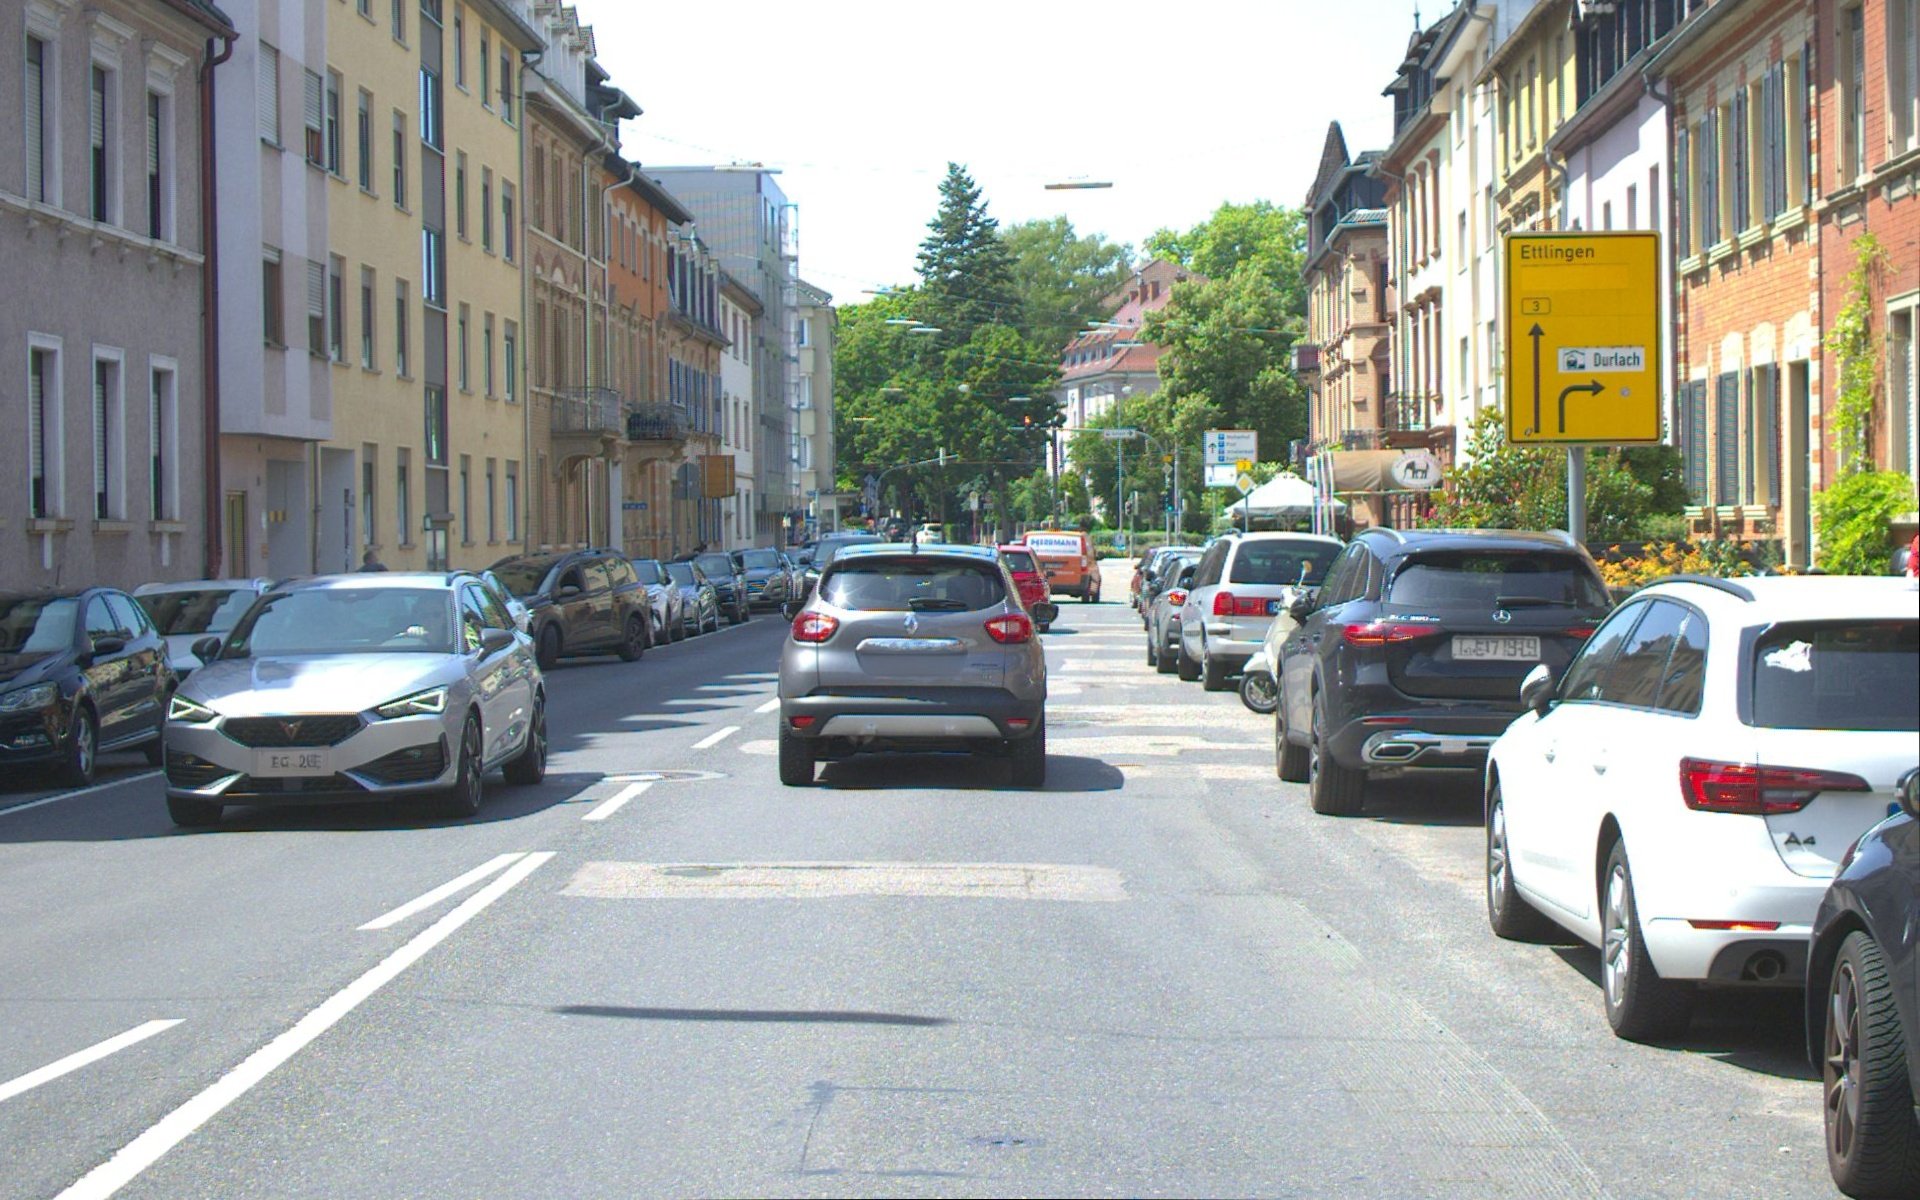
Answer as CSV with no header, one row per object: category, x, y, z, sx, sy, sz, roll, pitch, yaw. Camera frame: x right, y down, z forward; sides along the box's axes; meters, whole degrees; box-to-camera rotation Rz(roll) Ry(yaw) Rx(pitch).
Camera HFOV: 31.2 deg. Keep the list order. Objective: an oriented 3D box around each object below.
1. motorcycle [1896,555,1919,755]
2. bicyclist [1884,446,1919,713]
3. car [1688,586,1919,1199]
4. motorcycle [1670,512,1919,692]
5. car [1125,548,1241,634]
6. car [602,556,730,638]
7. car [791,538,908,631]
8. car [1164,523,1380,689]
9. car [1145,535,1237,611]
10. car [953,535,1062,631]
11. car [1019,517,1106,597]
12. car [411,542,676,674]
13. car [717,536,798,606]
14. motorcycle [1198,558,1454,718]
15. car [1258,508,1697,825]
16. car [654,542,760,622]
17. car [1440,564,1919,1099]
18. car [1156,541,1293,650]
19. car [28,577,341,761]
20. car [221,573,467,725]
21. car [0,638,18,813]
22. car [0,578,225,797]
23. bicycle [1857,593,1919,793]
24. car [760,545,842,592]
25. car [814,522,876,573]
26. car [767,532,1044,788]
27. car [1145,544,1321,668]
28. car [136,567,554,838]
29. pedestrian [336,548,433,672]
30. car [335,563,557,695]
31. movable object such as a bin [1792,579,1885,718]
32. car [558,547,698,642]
motorcycle,6.174,0.346,21.102,0.440,1.233,1.358,-3,1,0
bicyclist,5.515,-0.124,19.092,0.532,1.464,0.791,-2,1,2
car,2.956,0.691,6.930,1.648,1.409,4.502,-1,1,-5
motorcycle,7.289,0.006,29.498,2.129,1.403,0.937,-3,1,1
car,4.001,-0.195,62.272,1.860,1.460,4.618,0,1,1
car,-5.699,-0.081,67.083,1.905,1.396,4.755,-3,1,1
car,-2.256,-0.356,71.656,1.994,1.786,5.148,-2,1,2
car,3.435,0.015,38.689,1.860,1.742,4.619,0,1,-2
car,4.915,-0.603,73.481,1.860,1.548,4.000,0,1,3
car,0.831,-0.330,62.745,1.812,1.615,4.442,-3,1,0
car,2.755,-1.183,91.633,1.994,2.007,4.465,-2,1,5
car,-5.914,0.078,49.416,1.906,1.632,4.554,-3,1,19
car,-5.143,-0.757,87.930,1.904,1.614,4.303,-4,1,-2
motorcycle,3.291,0.330,30.966,1.994,1.381,1.110,0,1,39
car,3.010,0.327,20.982,1.993,1.656,4.625,-2,1,1
car,-5.600,-0.421,76.475,1.905,1.614,4.302,-3,1,1
car,2.826,0.626,11.909,1.716,1.409,4.589,-2,1,1
car,3.802,-0.105,49.942,1.695,1.482,4.618,0,1,1
car,-6.968,0.569,31.338,1.839,1.417,4.503,-4,1,-1
car,-6.593,0.480,37.270,1.839,1.417,4.646,-4,1,-1
car,-7.141,0.775,20.219,1.840,1.417,4.502,-6,1,0
car,-7.022,0.648,25.690,1.840,1.417,4.502,-5,1,2
bicycle,5.550,0.509,19.208,0.593,1.062,1.882,-2,1,1
car,-4.681,-0.938,101.920,1.905,1.287,4.302,-2,1,4
car,-4.265,-1.962,128.067,1.905,1.815,4.302,-2,1,3
car,-0.299,0.348,23.721,1.744,1.611,4.000,0,1,1
car,3.442,0.039,43.976,1.860,1.482,4.310,0,1,0
car,-3.693,0.553,21.385,1.790,1.415,4.315,-2,1,0
pedestrian,-8.348,0.141,49.887,1.151,1.744,0.969,-2,1,4
car,-6.364,0.317,43.048,1.840,1.417,4.558,-4,1,2
movable object such as a bin,7.006,0.378,27.445,0.557,1.072,0.727,-1,1,2
car,-5.858,-0.120,61.095,1.905,1.505,4.302,-3,1,1
